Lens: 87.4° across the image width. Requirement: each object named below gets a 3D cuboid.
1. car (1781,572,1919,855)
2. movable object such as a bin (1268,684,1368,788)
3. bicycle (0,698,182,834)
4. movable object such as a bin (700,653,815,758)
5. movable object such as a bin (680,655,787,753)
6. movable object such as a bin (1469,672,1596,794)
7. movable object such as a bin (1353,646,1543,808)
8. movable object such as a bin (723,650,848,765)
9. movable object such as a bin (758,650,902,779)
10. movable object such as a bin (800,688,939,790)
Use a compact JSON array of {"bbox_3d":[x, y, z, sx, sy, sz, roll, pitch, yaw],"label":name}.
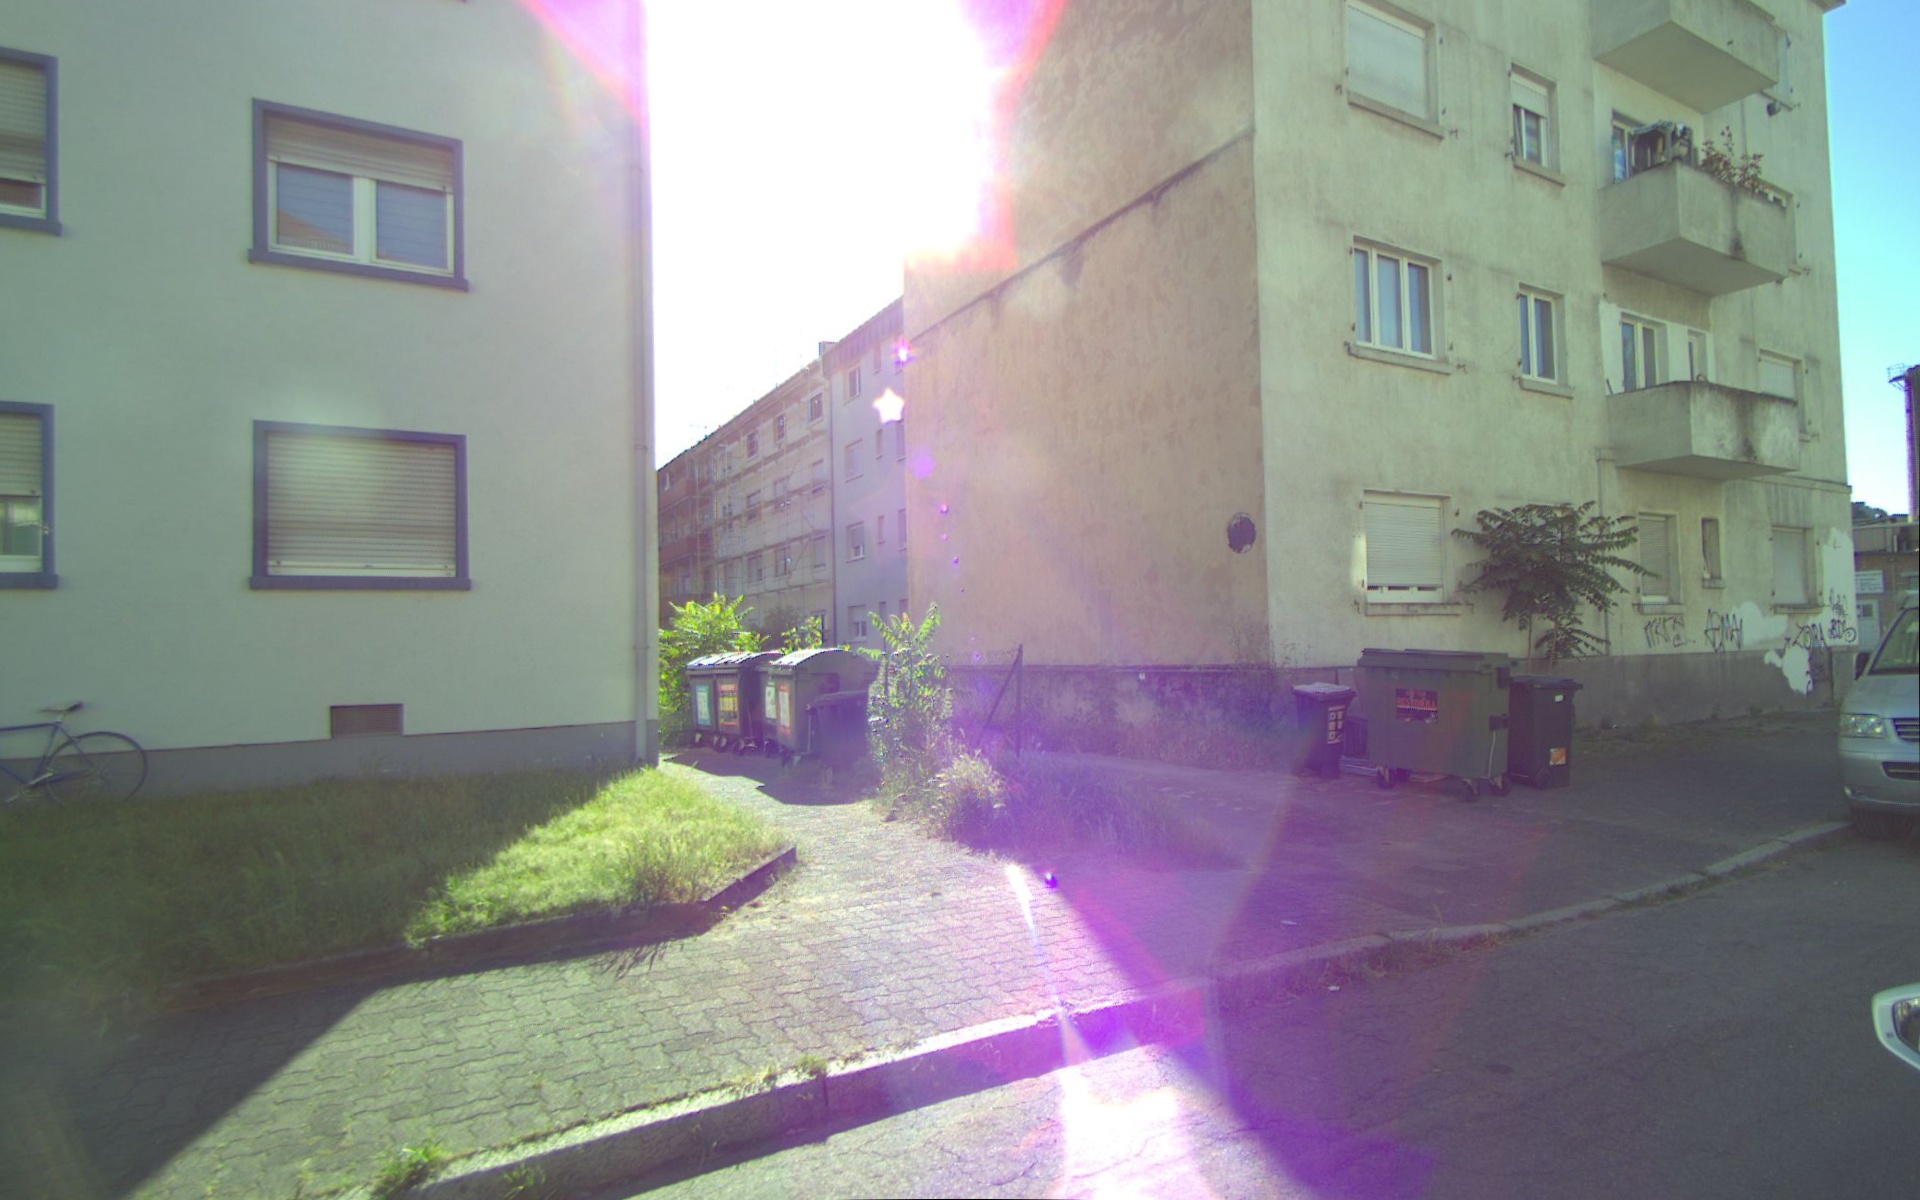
[{"bbox_3d":[8.832,0.774,7.996,4.800,1.958,1.942,0,-5,-31],"label":"car"},{"bbox_3d":[3.730,1.397,10.494,0.584,0.987,0.769,0,-2,-30],"label":"movable object such as a bin"},{"bbox_3d":[-7.616,1.349,8.106,2.049,0.974,0.497,0,0,-30],"label":"bicycle"},{"bbox_3d":[-3.050,1.554,15.074,1.420,1.465,1.125,1,-4,-30],"label":"movable object such as a bin"},{"bbox_3d":[-3.641,1.639,16.082,1.420,1.465,1.125,1,-4,-30],"label":"movable object such as a bin"},{"bbox_3d":[5.637,1.278,9.905,0.806,1.093,0.769,0,-2,-30],"label":"movable object such as a bin"},{"bbox_3d":[4.641,1.148,9.607,1.033,1.395,1.250,0,-2,-30],"label":"movable object such as a bin"},{"bbox_3d":[-2.425,1.453,13.898,1.420,1.475,1.125,1,-4,-30],"label":"movable object such as a bin"},{"bbox_3d":[-1.598,1.358,12.259,1.420,1.452,1.125,1,-4,-30],"label":"movable object such as a bin"},{"bbox_3d":[-1.031,1.507,11.210,1.189,1.012,1.125,1,-4,-30],"label":"movable object such as a bin"}]
